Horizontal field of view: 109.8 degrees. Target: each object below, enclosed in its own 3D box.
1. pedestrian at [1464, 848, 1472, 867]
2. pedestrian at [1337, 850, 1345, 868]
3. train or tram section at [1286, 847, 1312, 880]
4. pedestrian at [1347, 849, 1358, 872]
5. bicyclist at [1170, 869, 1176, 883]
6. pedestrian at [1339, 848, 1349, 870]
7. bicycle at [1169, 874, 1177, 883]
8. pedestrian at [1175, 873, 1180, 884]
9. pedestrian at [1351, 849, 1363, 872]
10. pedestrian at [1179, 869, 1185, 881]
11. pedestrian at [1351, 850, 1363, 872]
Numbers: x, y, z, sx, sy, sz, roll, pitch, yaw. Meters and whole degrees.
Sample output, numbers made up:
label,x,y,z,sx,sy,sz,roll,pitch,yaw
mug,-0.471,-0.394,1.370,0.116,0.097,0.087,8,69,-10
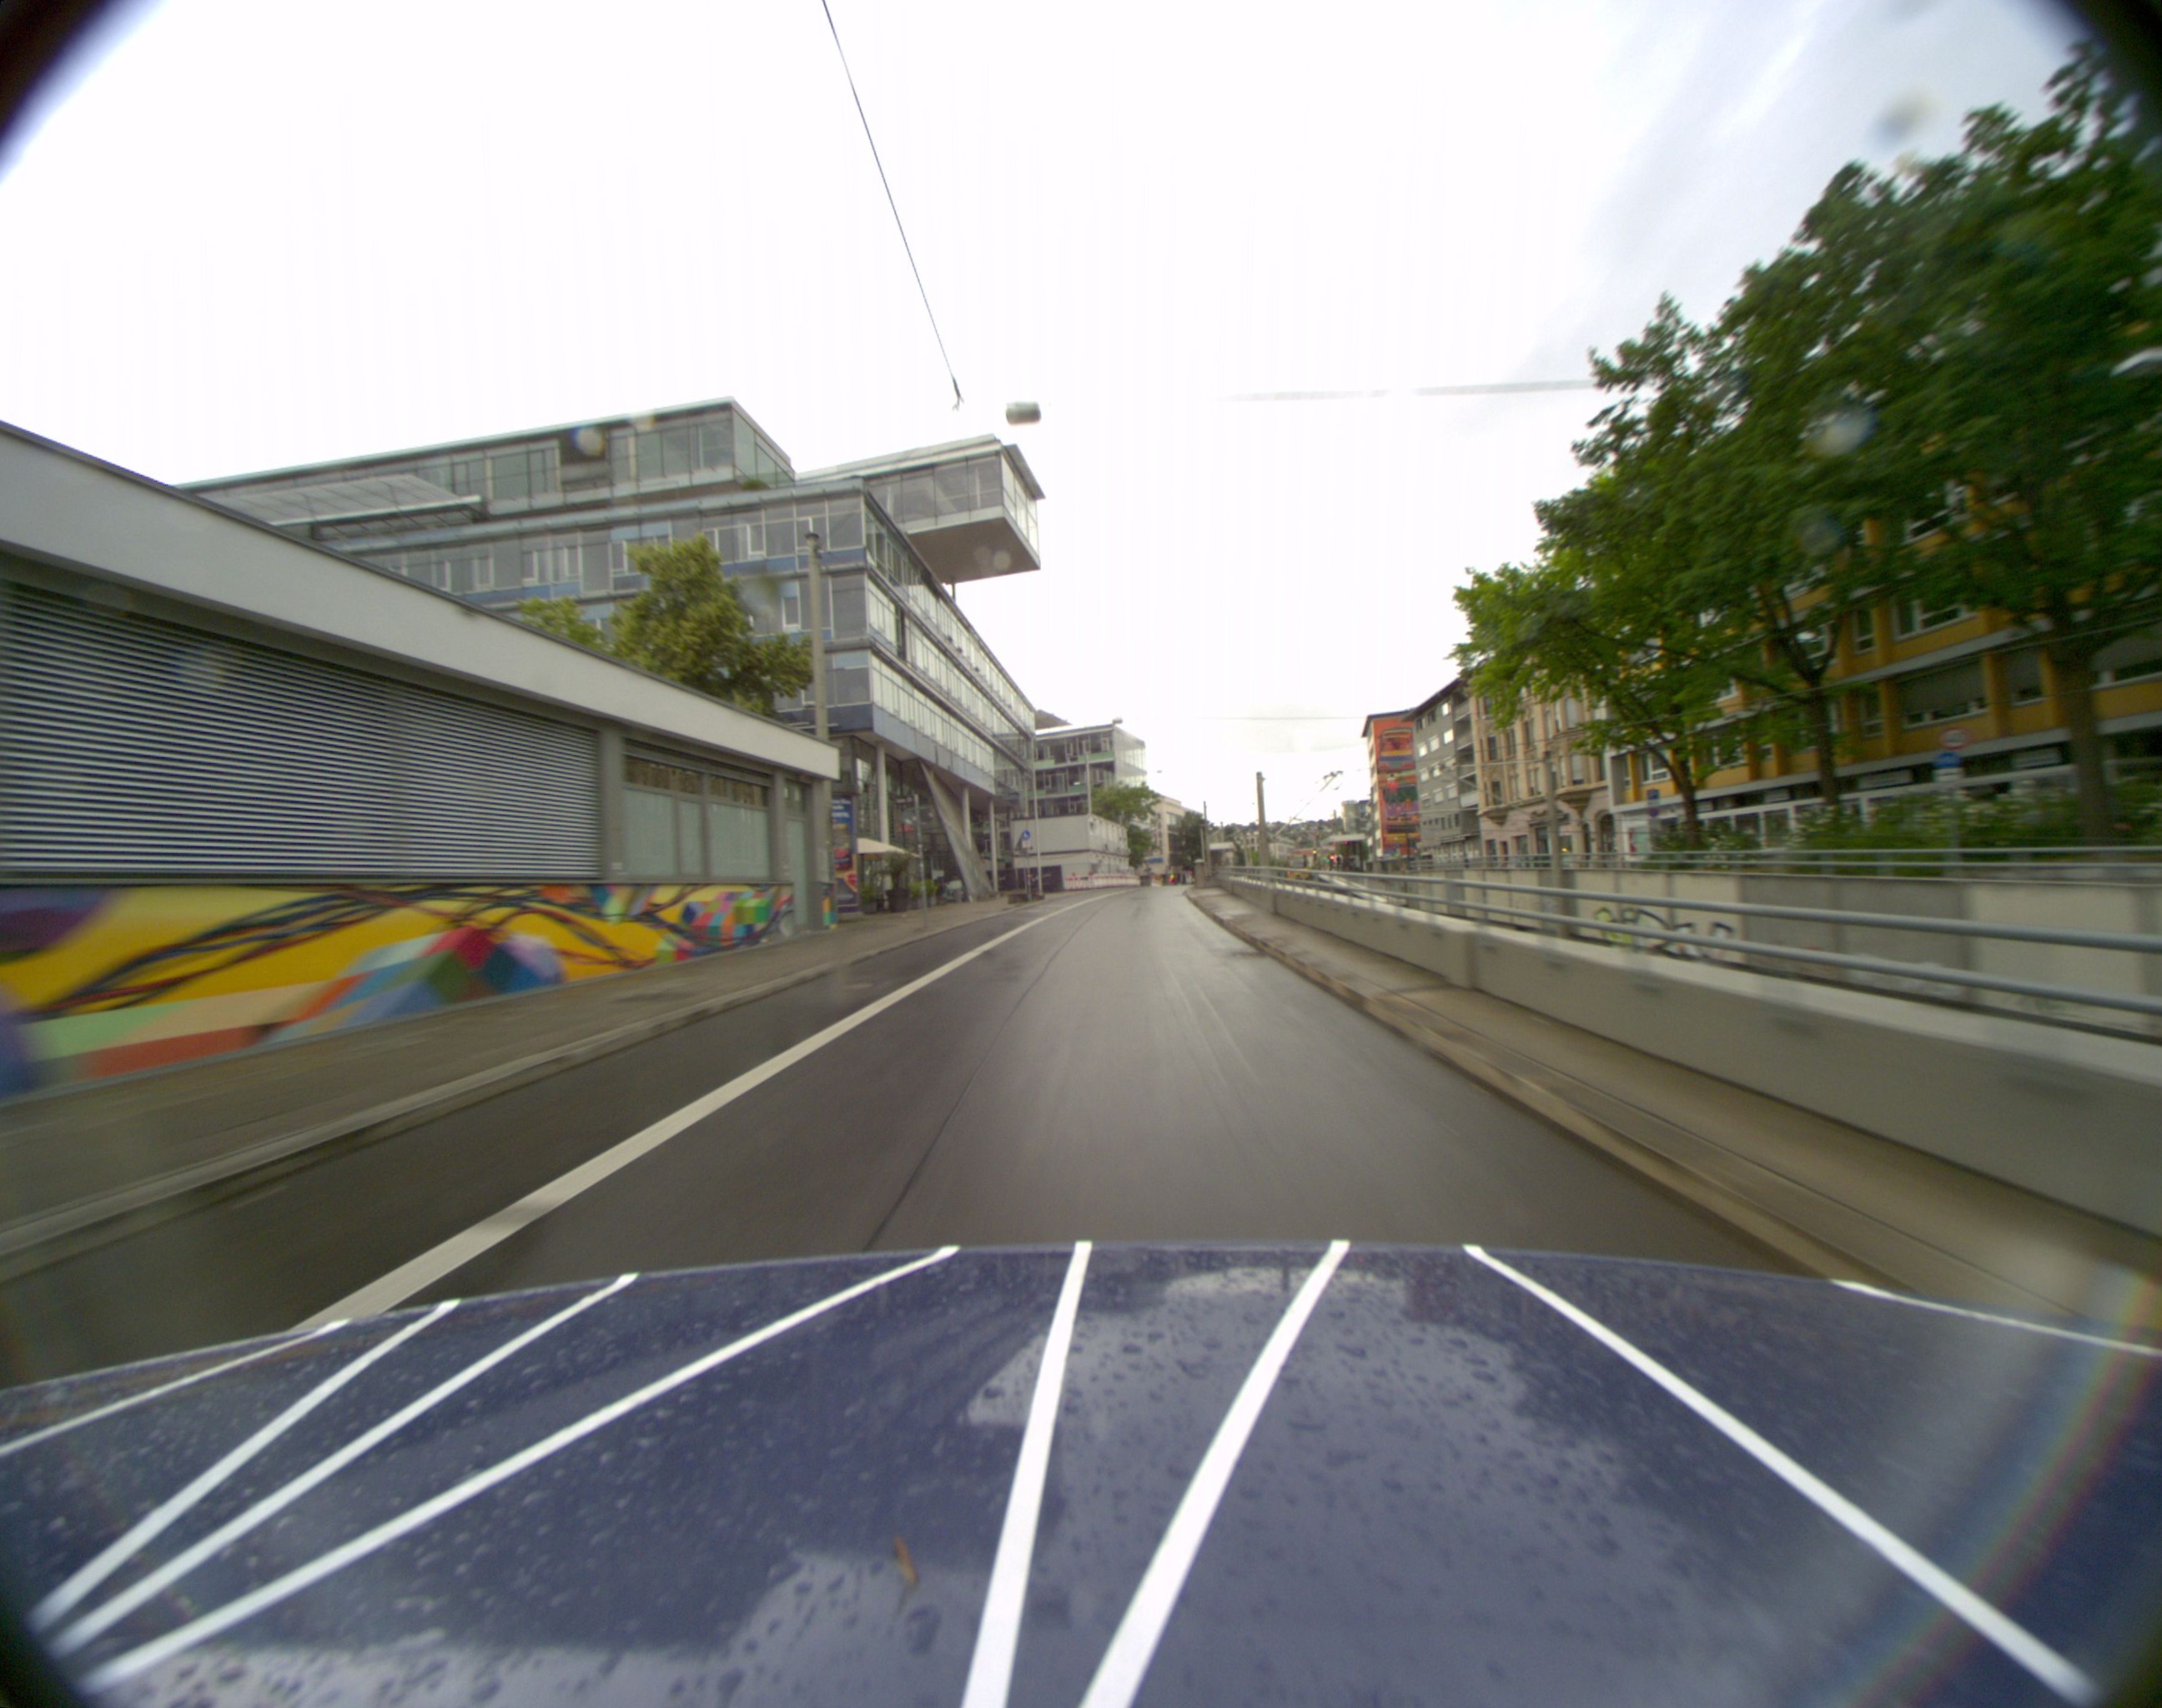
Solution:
label,x,y,z,sx,sy,sz,roll,pitch,yaw
pedestrian,34.424,0.291,67.576,0.422,1.672,0.609,-5,-3,24
pedestrian,22.635,0.430,66.102,0.558,1.528,0.517,-4,0,14
train or tram section,28.225,1.352,98.227,2.783,3.667,9.731,-5,-4,16
pedestrian,19.672,0.507,55.014,0.678,1.639,0.897,2,0,18
bicyclist,11.095,2.686,91.381,0.663,1.630,0.793,1,2,12
pedestrian,20.612,0.378,59.578,0.633,1.650,0.684,-4,-2,17
bicycle,11.087,2.963,91.425,0.663,1.046,2.058,-2,0,12
pedestrian,14.591,3.696,114.596,0.598,1.750,0.846,-4,-3,15
pedestrian,20.265,0.462,55.851,0.772,1.639,0.778,2,0,18
pedestrian,15.094,3.143,113.765,0.719,1.750,0.960,-3,-3,9
pedestrian,20.614,0.515,56.691,0.772,1.639,0.778,2,0,18
